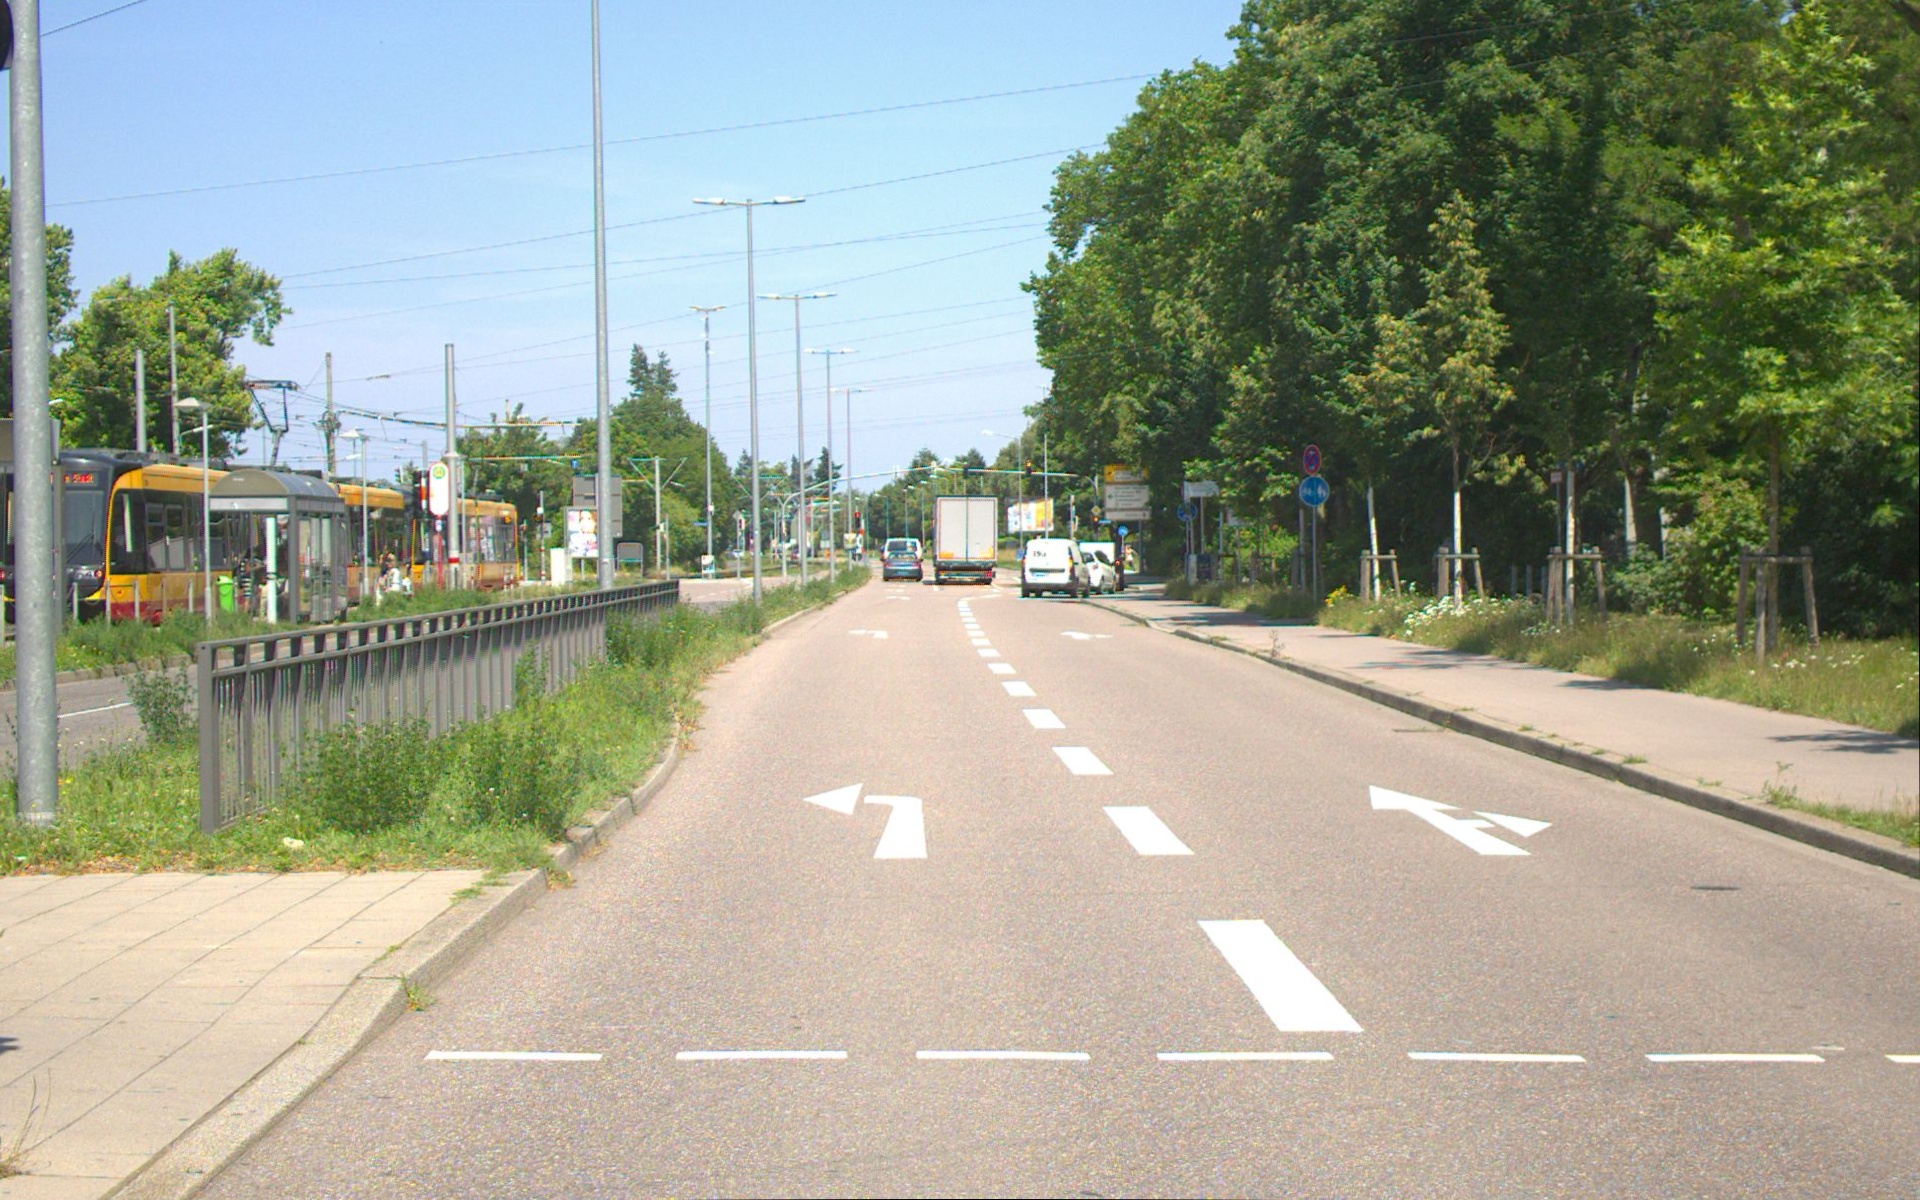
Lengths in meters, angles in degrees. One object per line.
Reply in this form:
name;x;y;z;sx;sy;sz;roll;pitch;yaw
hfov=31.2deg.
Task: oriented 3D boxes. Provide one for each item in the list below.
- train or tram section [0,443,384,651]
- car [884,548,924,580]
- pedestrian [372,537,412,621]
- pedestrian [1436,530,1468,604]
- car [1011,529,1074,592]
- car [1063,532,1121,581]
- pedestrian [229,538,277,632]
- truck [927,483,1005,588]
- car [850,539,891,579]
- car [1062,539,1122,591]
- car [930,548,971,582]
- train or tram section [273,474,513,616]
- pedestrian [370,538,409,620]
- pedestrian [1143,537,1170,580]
train or tram section;-16.662;-1.223;76.959;2.957;3.736;30.035;0;1;-1
car;-2.554;-1.661;157.892;1.811;1.459;4.000;0;1;-1
pedestrian;-13.816;-0.514;83.662;0.815;2.007;0.938;0;1;-1
pedestrian;9.587;-0.642;67.023;0.604;1.433;0.556;0;1;6
car;2.510;-1.229;105.523;1.779;1.897;4.000;0;1;-1
car;4.549;-1.523;118.796;1.779;1.663;4.000;0;1;-1
pedestrian;-14.258;-0.308;69.310;0.785;1.862;0.817;0;1;-1
truck;0.216;-2.728;146.060;3.205;4.344;6.561;0;1;-1
car;-4.549;-2.086;175.173;1.993;2.007;4.000;0;1;-1
car;4.299;-1.158;112.453;1.779;1.663;4.000;0;1;-1
car;-0.430;-1.567;153.625;1.811;1.459;4.000;0;1;-1
train or tram section;-17.290;-1.763;108.359;2.931;3.776;33.090;0;1;-1
pedestrian;-14.095;-0.531;84.956;0.815;2.007;0.938;0;1;-1
pedestrian;9.403;-1.994;164.302;1.185;2.007;1.214;0;1;0
